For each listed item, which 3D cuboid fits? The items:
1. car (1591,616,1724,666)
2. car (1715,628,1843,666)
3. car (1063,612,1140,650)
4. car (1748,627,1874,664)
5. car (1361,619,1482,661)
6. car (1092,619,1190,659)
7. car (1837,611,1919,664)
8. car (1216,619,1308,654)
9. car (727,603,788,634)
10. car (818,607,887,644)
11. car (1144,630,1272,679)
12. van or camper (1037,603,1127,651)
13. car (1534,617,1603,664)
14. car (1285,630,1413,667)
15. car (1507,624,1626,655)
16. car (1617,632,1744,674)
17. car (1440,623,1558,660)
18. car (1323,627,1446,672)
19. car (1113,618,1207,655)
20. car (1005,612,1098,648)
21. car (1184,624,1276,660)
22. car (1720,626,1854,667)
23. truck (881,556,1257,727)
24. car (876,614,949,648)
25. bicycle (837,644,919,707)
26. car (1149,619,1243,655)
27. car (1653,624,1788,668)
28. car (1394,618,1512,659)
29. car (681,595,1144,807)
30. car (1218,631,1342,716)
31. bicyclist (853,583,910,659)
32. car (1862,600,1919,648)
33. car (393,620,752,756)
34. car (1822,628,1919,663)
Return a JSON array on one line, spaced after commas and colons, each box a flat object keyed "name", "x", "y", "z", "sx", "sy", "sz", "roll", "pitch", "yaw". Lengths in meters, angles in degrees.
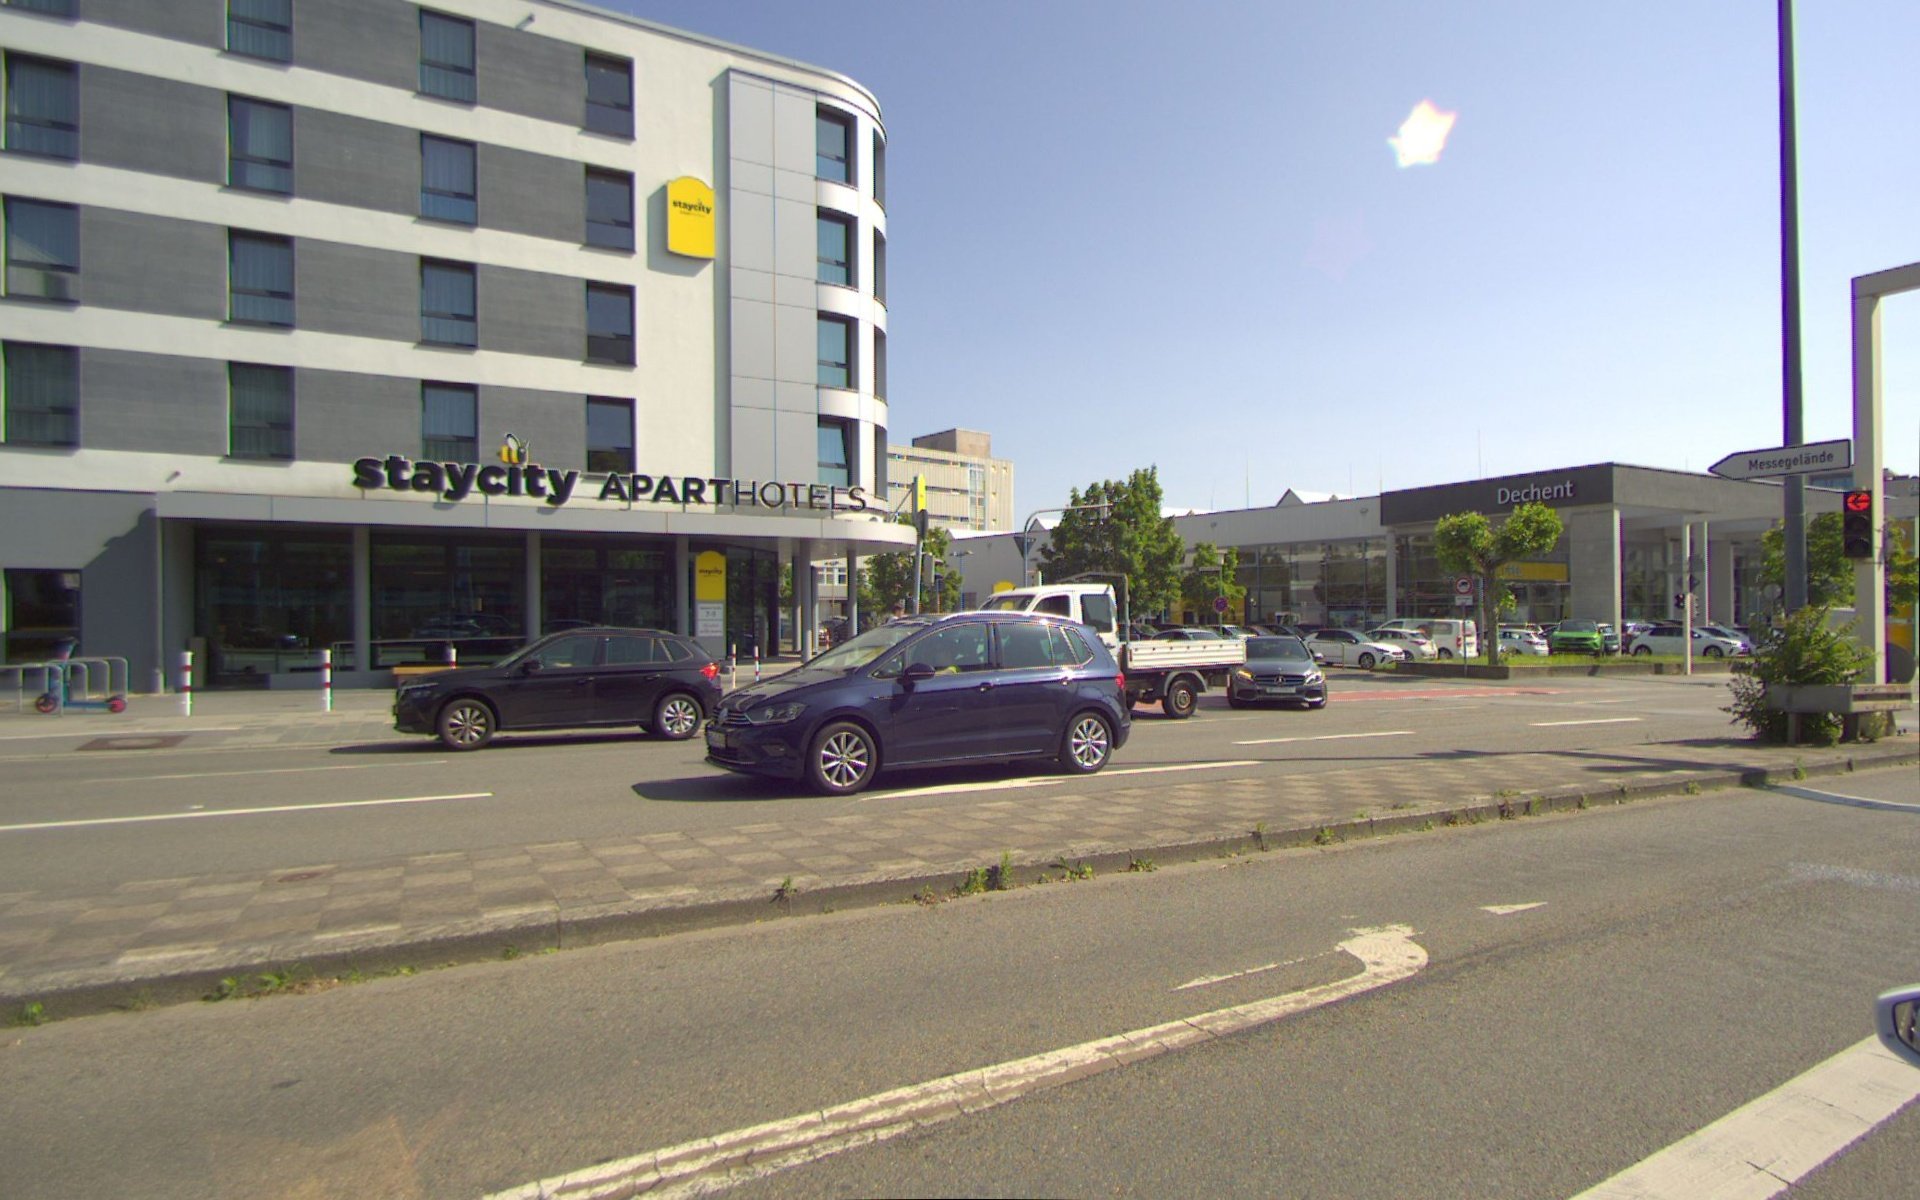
[{"name": "car", "x": 27.346, "y": 1.573, "z": 39.485, "sx": 1.978, "sy": 1.862, "sz": 3.849, "roll": 1, "pitch": -2, "yaw": -32}, {"name": "car", "x": 38.786, "y": 2.188, "z": 47.679, "sx": 1.978, "sy": 1.719, "sz": 4.333, "roll": 1, "pitch": -2, "yaw": -32}, {"name": "car", "x": 7.751, "y": 1.691, "z": 55.295, "sx": 1.983, "sy": 2.040, "sz": 3.956, "roll": 1, "pitch": -2, "yaw": -38}, {"name": "car", "x": 41.572, "y": 2.182, "z": 49.172, "sx": 1.978, "sy": 1.719, "sz": 4.333, "roll": 1, "pitch": -2, "yaw": -32}, {"name": "car", "x": 19.847, "y": 1.700, "z": 43.339, "sx": 1.982, "sy": 1.719, "sz": 4.323, "roll": 1, "pitch": -2, "yaw": -38}, {"name": "car", "x": 8.245, "y": 1.752, "z": 46.149, "sx": 1.980, "sy": 1.719, "sz": 4.328, "roll": 1, "pitch": -2, "yaw": -35}, {"name": "car", "x": 49.066, "y": 1.935, "z": 52.426, "sx": 2.096, "sy": 2.720, "sz": 4.490, "roll": 1, "pitch": -1, "yaw": -21}, {"name": "car", "x": 15.807, "y": 1.878, "z": 52.685, "sx": 1.982, "sy": 1.719, "sz": 4.324, "roll": 1, "pitch": -2, "yaw": -37}, {"name": "car", "x": -11.711, "y": 1.060, "z": 57.922, "sx": 1.981, "sy": 1.611, "sz": 3.958, "roll": 2, "pitch": 0, "yaw": -37}, {"name": "car", "x": -6.826, "y": 1.614, "z": 63.474, "sx": 1.985, "sy": 2.158, "sz": 4.565, "roll": 2, "pitch": 0, "yaw": -42}, {"name": "car", "x": 8.026, "y": 1.732, "z": 32.799, "sx": 1.760, "sy": 1.457, "sz": 3.877, "roll": 1, "pitch": -2, "yaw": -35}, {"name": "van or camper", "x": 6.398, "y": 1.414, "z": 52.991, "sx": 1.983, "sy": 2.432, "sz": 4.678, "roll": 1, "pitch": -2, "yaw": -38}, {"name": "car", "x": 23.988, "y": 1.606, "z": 39.709, "sx": 1.870, "sy": 1.756, "sz": 3.293, "roll": 0, "pitch": -3, "yaw": 23}, {"name": "car", "x": 15.071, "y": 1.859, "z": 39.113, "sx": 1.980, "sy": 1.317, "sz": 4.328, "roll": 1, "pitch": -2, "yaw": -35}, {"name": "car", "x": 27.861, "y": 1.834, "z": 46.258, "sx": 1.982, "sy": 1.284, "sz": 4.325, "roll": 4, "pitch": -4, "yaw": -37}, {"name": "car", "x": 30.337, "y": 2.206, "z": 42.399, "sx": 1.981, "sy": 1.620, "sz": 3.959, "roll": 1, "pitch": -2, "yaw": -36}, {"name": "car", "x": 24.546, "y": 1.869, "z": 45.871, "sx": 1.982, "sy": 1.612, "sz": 4.325, "roll": 1, "pitch": -2, "yaw": -37}, {"name": "car", "x": 17.420, "y": 1.984, "z": 41.367, "sx": 1.980, "sy": 1.719, "sz": 4.328, "roll": 1, "pitch": -2, "yaw": -35}, {"name": "car", "x": 9.632, "y": 1.737, "z": 48.665, "sx": 1.980, "sy": 1.719, "sz": 4.328, "roll": 1, "pitch": -2, "yaw": -35}, {"name": "car", "x": 4.550, "y": 1.460, "z": 50.227, "sx": 4.304, "sy": 1.719, "sz": 1.991, "roll": -1, "pitch": -2, "yaw": 39}, {"name": "car", "x": 13.791, "y": 2.117, "z": 51.430, "sx": 1.980, "sy": 1.719, "sz": 4.328, "roll": 1, "pitch": -2, "yaw": -35}, {"name": "car", "x": 37.433, "y": 2.076, "z": 45.585, "sx": 1.978, "sy": 1.719, "sz": 4.333, "roll": 2, "pitch": -1, "yaw": -32}, {"name": "truck", "x": 1.988, "y": 0.755, "z": 17.693, "sx": 6.355, "sy": 2.578, "sz": 2.349, "roll": 1, "pitch": -4, "yaw": -28}, {"name": "car", "x": -2.851, "y": 1.805, "z": 59.381, "sx": 1.971, "sy": 1.815, "sz": 4.376, "roll": 2, "pitch": 0, "yaw": -42}, {"name": "bicycle", "x": -1.597, "y": 1.473, "z": 20.021, "sx": 0.755, "sy": 1.131, "sz": 2.161, "roll": 0, "pitch": -2, "yaw": 22}, {"name": "car", "x": 11.620, "y": 1.811, "z": 49.719, "sx": 1.980, "sy": 1.719, "sz": 4.328, "roll": 1, "pitch": -2, "yaw": -35}, {"name": "car", "x": 32.812, "y": 1.955, "z": 43.452, "sx": 1.978, "sy": 1.789, "sz": 4.274, "roll": 1, "pitch": -2, "yaw": -32}, {"name": "car", "x": 21.952, "y": 1.690, "z": 44.865, "sx": 1.982, "sy": 1.719, "sz": 4.323, "roll": 1, "pitch": -2, "yaw": -38}, {"name": "car", "x": -0.385, "y": 0.851, "z": 9.671, "sx": 4.089, "sy": 1.639, "sz": 1.875, "roll": 1, "pitch": -2, "yaw": -33}, {"name": "car", "x": 6.903, "y": 1.463, "z": 21.341, "sx": 1.925, "sy": 1.446, "sz": 4.582, "roll": 1, "pitch": 0, "yaw": 25}, {"name": "bicyclist", "x": -1.569, "y": 0.427, "z": 20.086, "sx": 0.755, "sy": 1.479, "sz": 1.027, "roll": 0, "pitch": -1, "yaw": 22}, {"name": "car", "x": 53.232, "y": 1.349, "z": 55.746, "sx": 1.973, "sy": 2.635, "sz": 4.345, "roll": 1, "pitch": -1, "yaw": -24}, {"name": "car", "x": -5.272, "y": 1.118, "z": 13.809, "sx": 4.360, "sy": 1.598, "sz": 1.985, "roll": 1, "pitch": -3, "yaw": -30}, {"name": "car", "x": 47.012, "y": 2.289, "z": 51.117, "sx": 1.973, "sy": 1.719, "sz": 4.345, "roll": 1, "pitch": -1, "yaw": -24}]
